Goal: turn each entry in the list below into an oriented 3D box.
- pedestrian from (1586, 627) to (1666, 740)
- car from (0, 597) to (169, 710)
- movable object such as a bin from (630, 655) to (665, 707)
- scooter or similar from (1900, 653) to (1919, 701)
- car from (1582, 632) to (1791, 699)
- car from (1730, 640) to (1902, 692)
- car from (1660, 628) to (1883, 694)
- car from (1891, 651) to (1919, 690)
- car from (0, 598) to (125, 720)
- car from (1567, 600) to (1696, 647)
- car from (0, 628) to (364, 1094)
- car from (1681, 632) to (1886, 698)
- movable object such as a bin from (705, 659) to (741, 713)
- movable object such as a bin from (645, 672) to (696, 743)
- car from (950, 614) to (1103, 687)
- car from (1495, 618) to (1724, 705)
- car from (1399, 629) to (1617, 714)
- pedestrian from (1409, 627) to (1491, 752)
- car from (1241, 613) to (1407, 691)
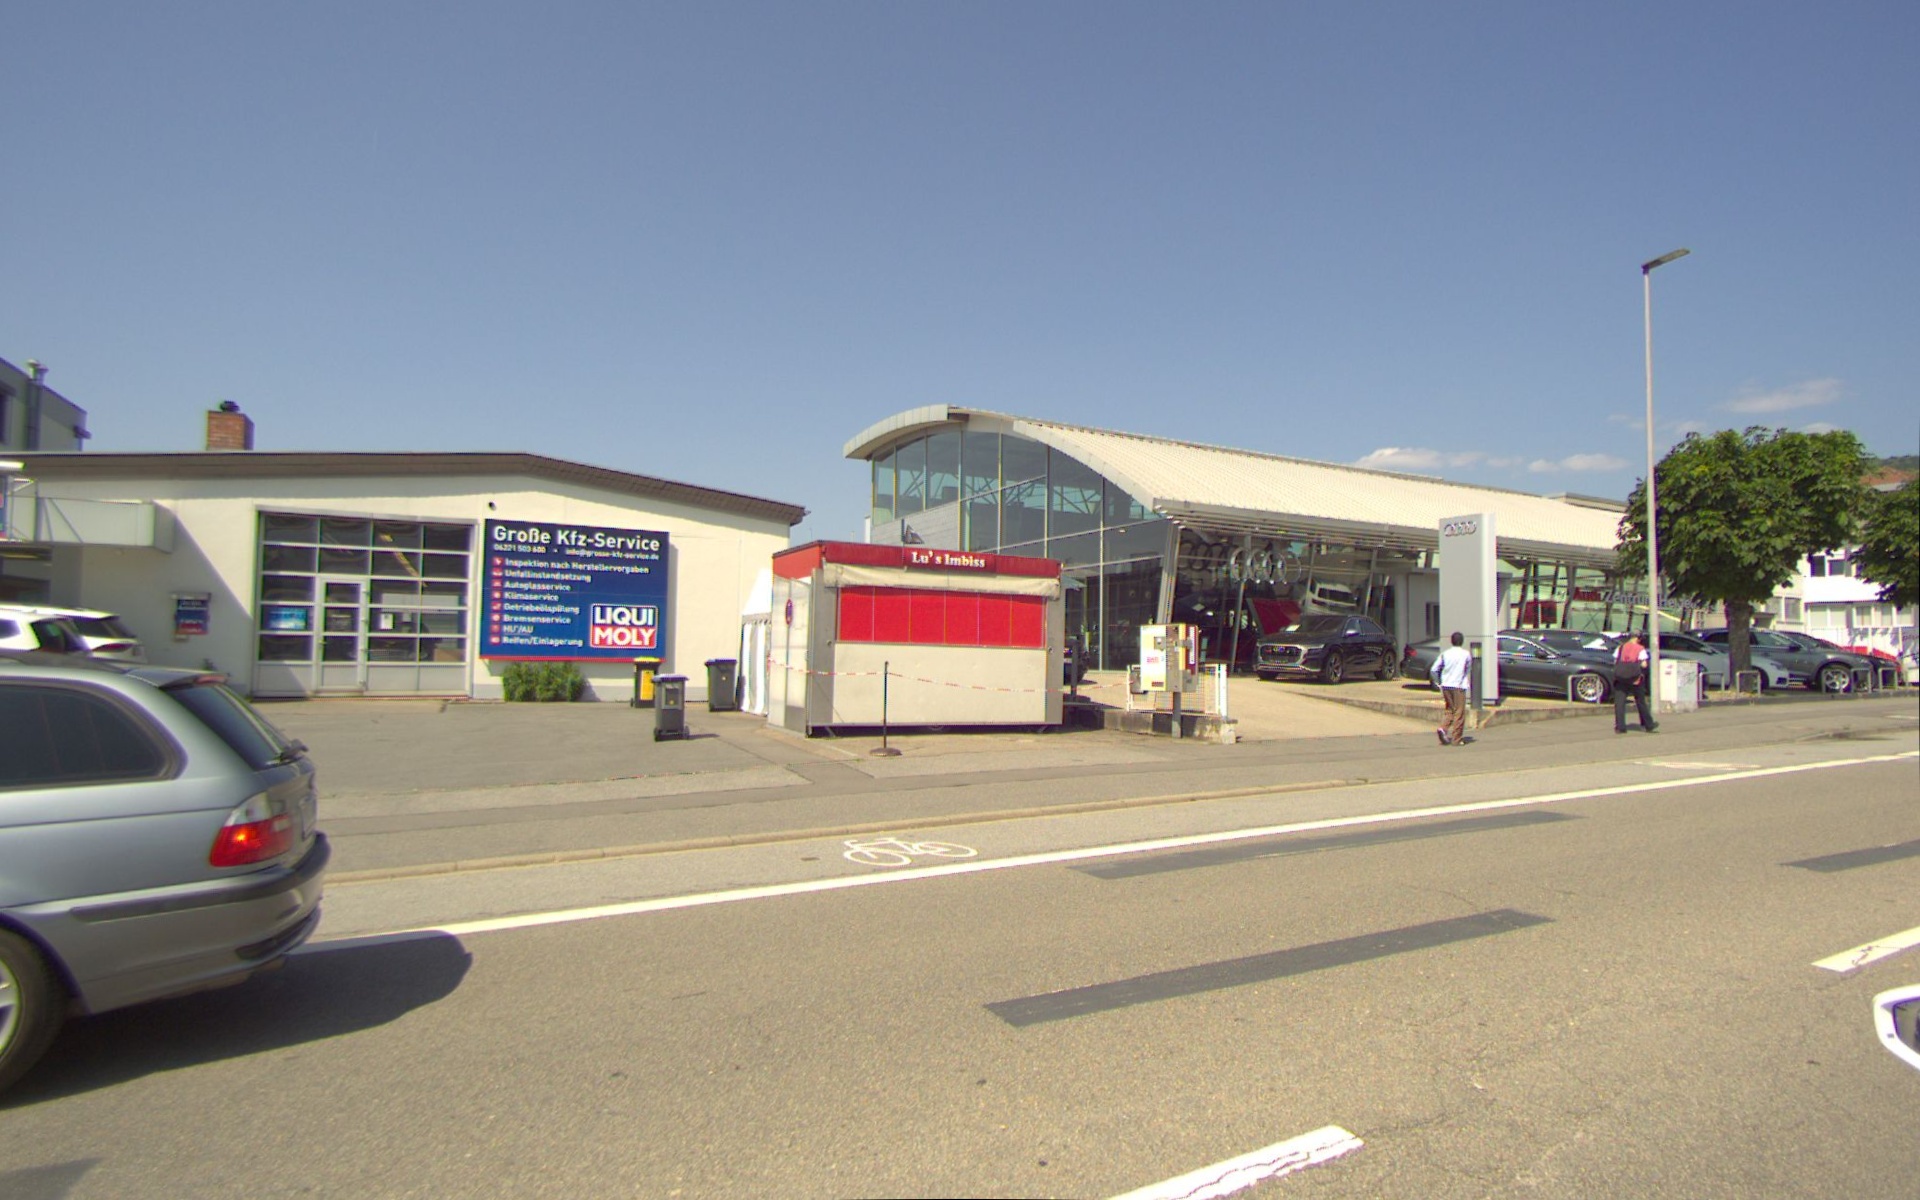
[{"bbox_3d":[11.519,1.428,17.370,1.034,1.892,0.729,2,-3,-29],"label":"pedestrian"},{"bbox_3d":[-16.422,0.900,17.018,4.360,1.840,1.902,2,-3,-26],"label":"car"},{"bbox_3d":[-6.711,1.727,21.579,0.678,1.062,0.586,1,0,-16],"label":"movable object such as a bin"},{"bbox_3d":[25.651,2.041,26.688,1.477,1.264,0.738,2,-3,-37],"label":"scooter or similar"},{"bbox_3d":[18.780,1.657,26.220,4.125,1.514,1.873,1,-2,27],"label":"car"},{"bbox_3d":[27.454,2.082,32.388,3.930,1.570,1.855,-1,-2,31],"label":"car"},{"bbox_3d":[22.393,1.649,27.980,4.495,1.719,1.857,-1,-2,27],"label":"car"},{"bbox_3d":[38.536,2.683,38.017,1.878,1.476,4.504,2,-3,-30],"label":"car"},{"bbox_3d":[-15.385,0.806,14.690,4.418,1.730,1.902,4,-4,-25],"label":"car"},{"bbox_3d":[25.309,0.918,37.912,3.934,1.706,1.994,1,-2,-16],"label":"car"},{"bbox_3d":[-4.488,0.824,3.251,4.270,1.422,1.735,2,-5,-28],"label":"car"},{"bbox_3d":[24.506,1.888,30.120,4.397,1.730,1.909,1,-2,27],"label":"car"},{"bbox_3d":[-4.803,1.737,20.368,0.678,1.057,0.564,1,0,-16],"label":"movable object such as a bin"},{"bbox_3d":[-4.105,1.513,14.274,0.678,0.935,0.571,1,0,-16],"label":"movable object such as a bin"},{"bbox_3d":[1.470,1.168,23.623,1.873,1.545,3.974,2,-3,-26],"label":"car"},{"bbox_3d":[15.556,1.420,24.395,4.399,1.631,1.962,3,3,27],"label":"car"},{"bbox_3d":[12.236,1.557,22.711,4.083,1.478,1.906,4,-1,27],"label":"car"},{"bbox_3d":[7.622,1.376,15.646,0.899,1.872,0.721,1,-3,-26],"label":"pedestrian"},{"bbox_3d":[9.345,1.298,25.598,4.698,1.742,1.975,3,0,-42],"label":"car"}]
